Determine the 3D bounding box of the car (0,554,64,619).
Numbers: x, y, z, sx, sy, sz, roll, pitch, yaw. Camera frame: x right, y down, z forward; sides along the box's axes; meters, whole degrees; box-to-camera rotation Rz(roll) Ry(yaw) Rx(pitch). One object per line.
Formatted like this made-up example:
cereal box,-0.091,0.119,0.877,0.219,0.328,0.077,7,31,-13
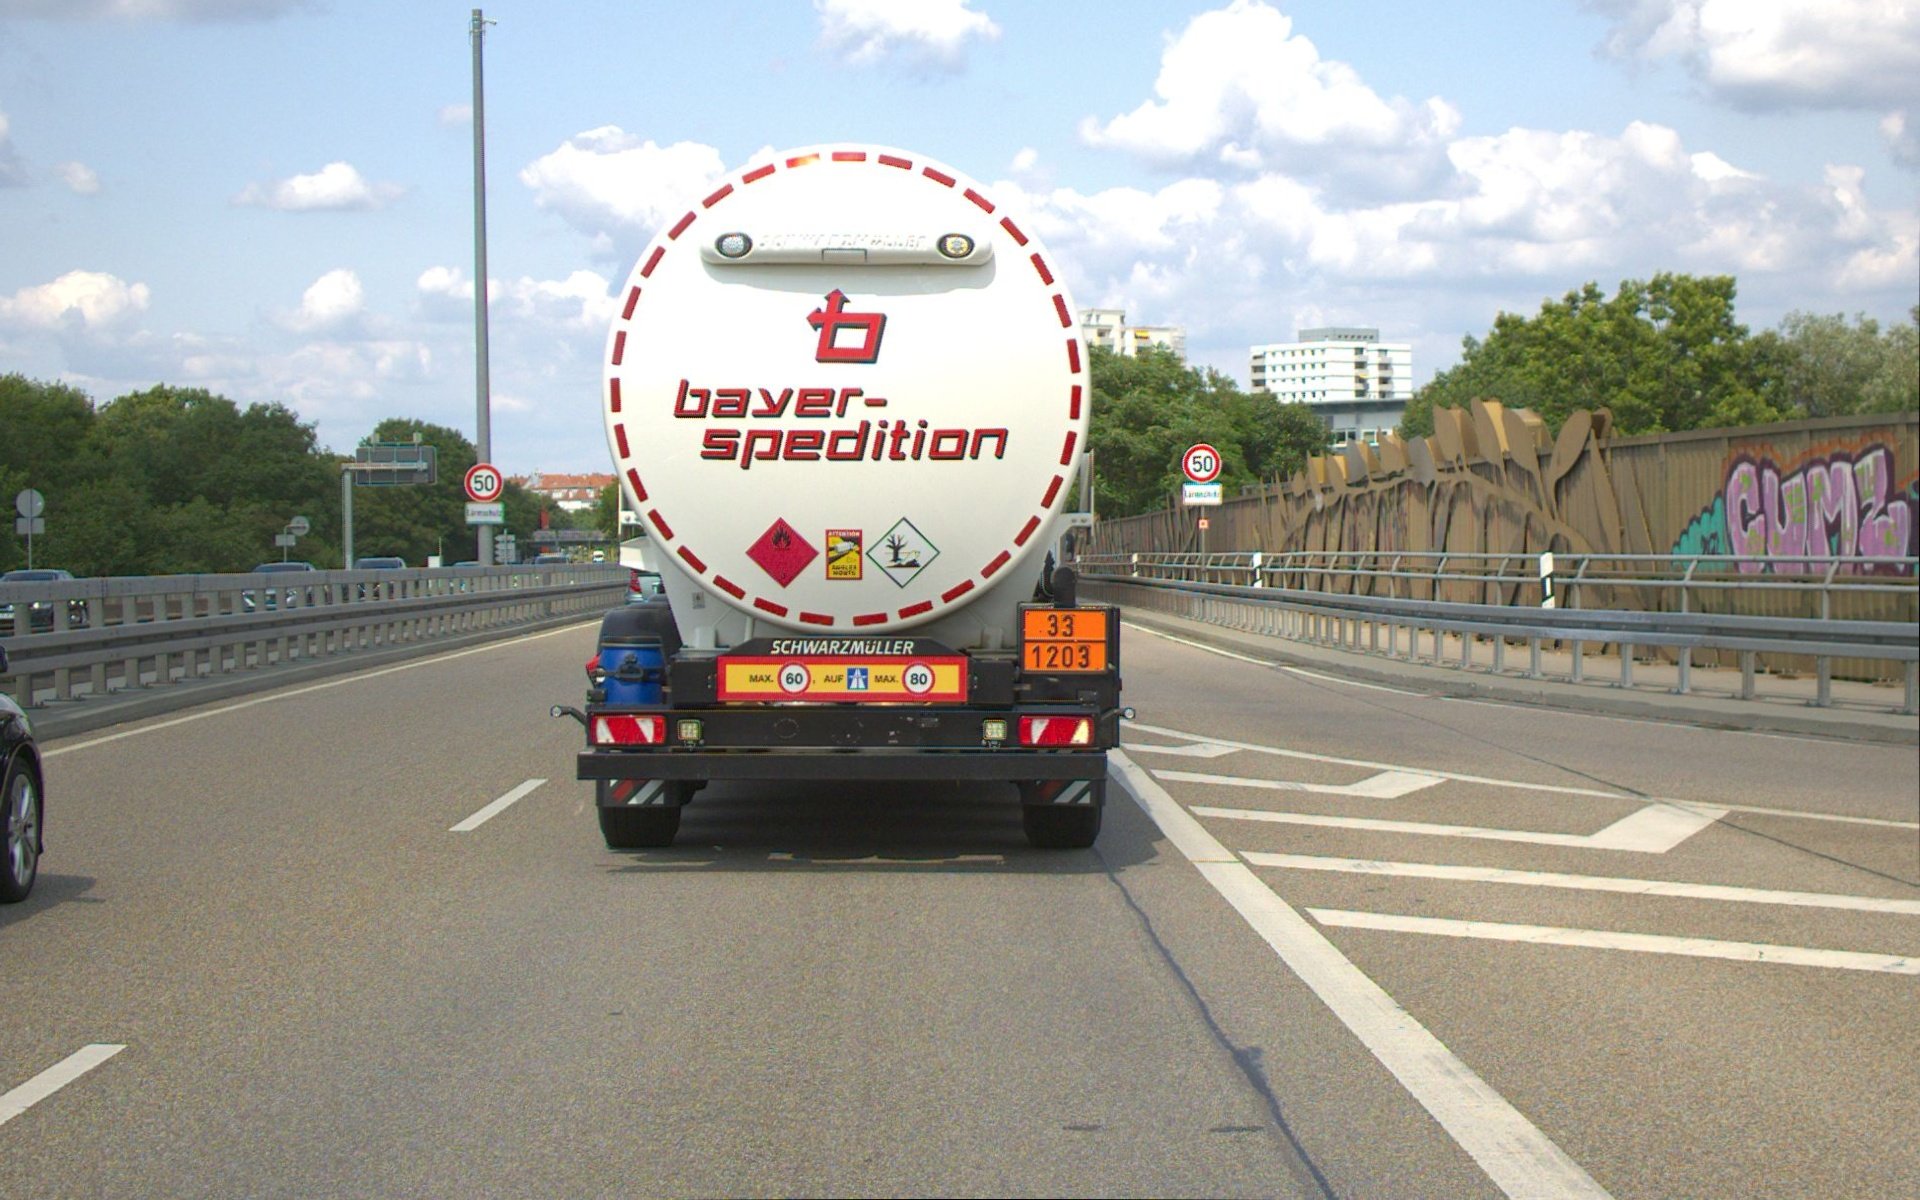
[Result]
car,-21.130,-0.313,75.983,1.678,1.397,4.000,-1,1,-1

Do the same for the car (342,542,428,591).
car,-17.850,-1.054,106.914,1.912,1.459,4.519,-1,1,0

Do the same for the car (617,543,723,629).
car,-5.463,-0.287,65.131,1.747,1.526,4.001,0,2,-1

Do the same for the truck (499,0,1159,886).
truck,-0.703,-0.992,19.399,2.895,4.353,8.030,1,1,-2

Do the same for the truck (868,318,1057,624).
truck,-0.068,-2.110,58.228,2.895,4.791,8.030,1,1,-2

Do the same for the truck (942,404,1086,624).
truck,1.173,-1.967,79.430,2.895,4.791,8.030,1,1,-2

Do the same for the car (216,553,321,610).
car,-17.734,-0.500,88.374,1.777,1.415,4.622,0,1,0

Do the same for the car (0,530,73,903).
car,-4.750,0.488,12.914,1.711,1.522,4.593,1,1,-1
